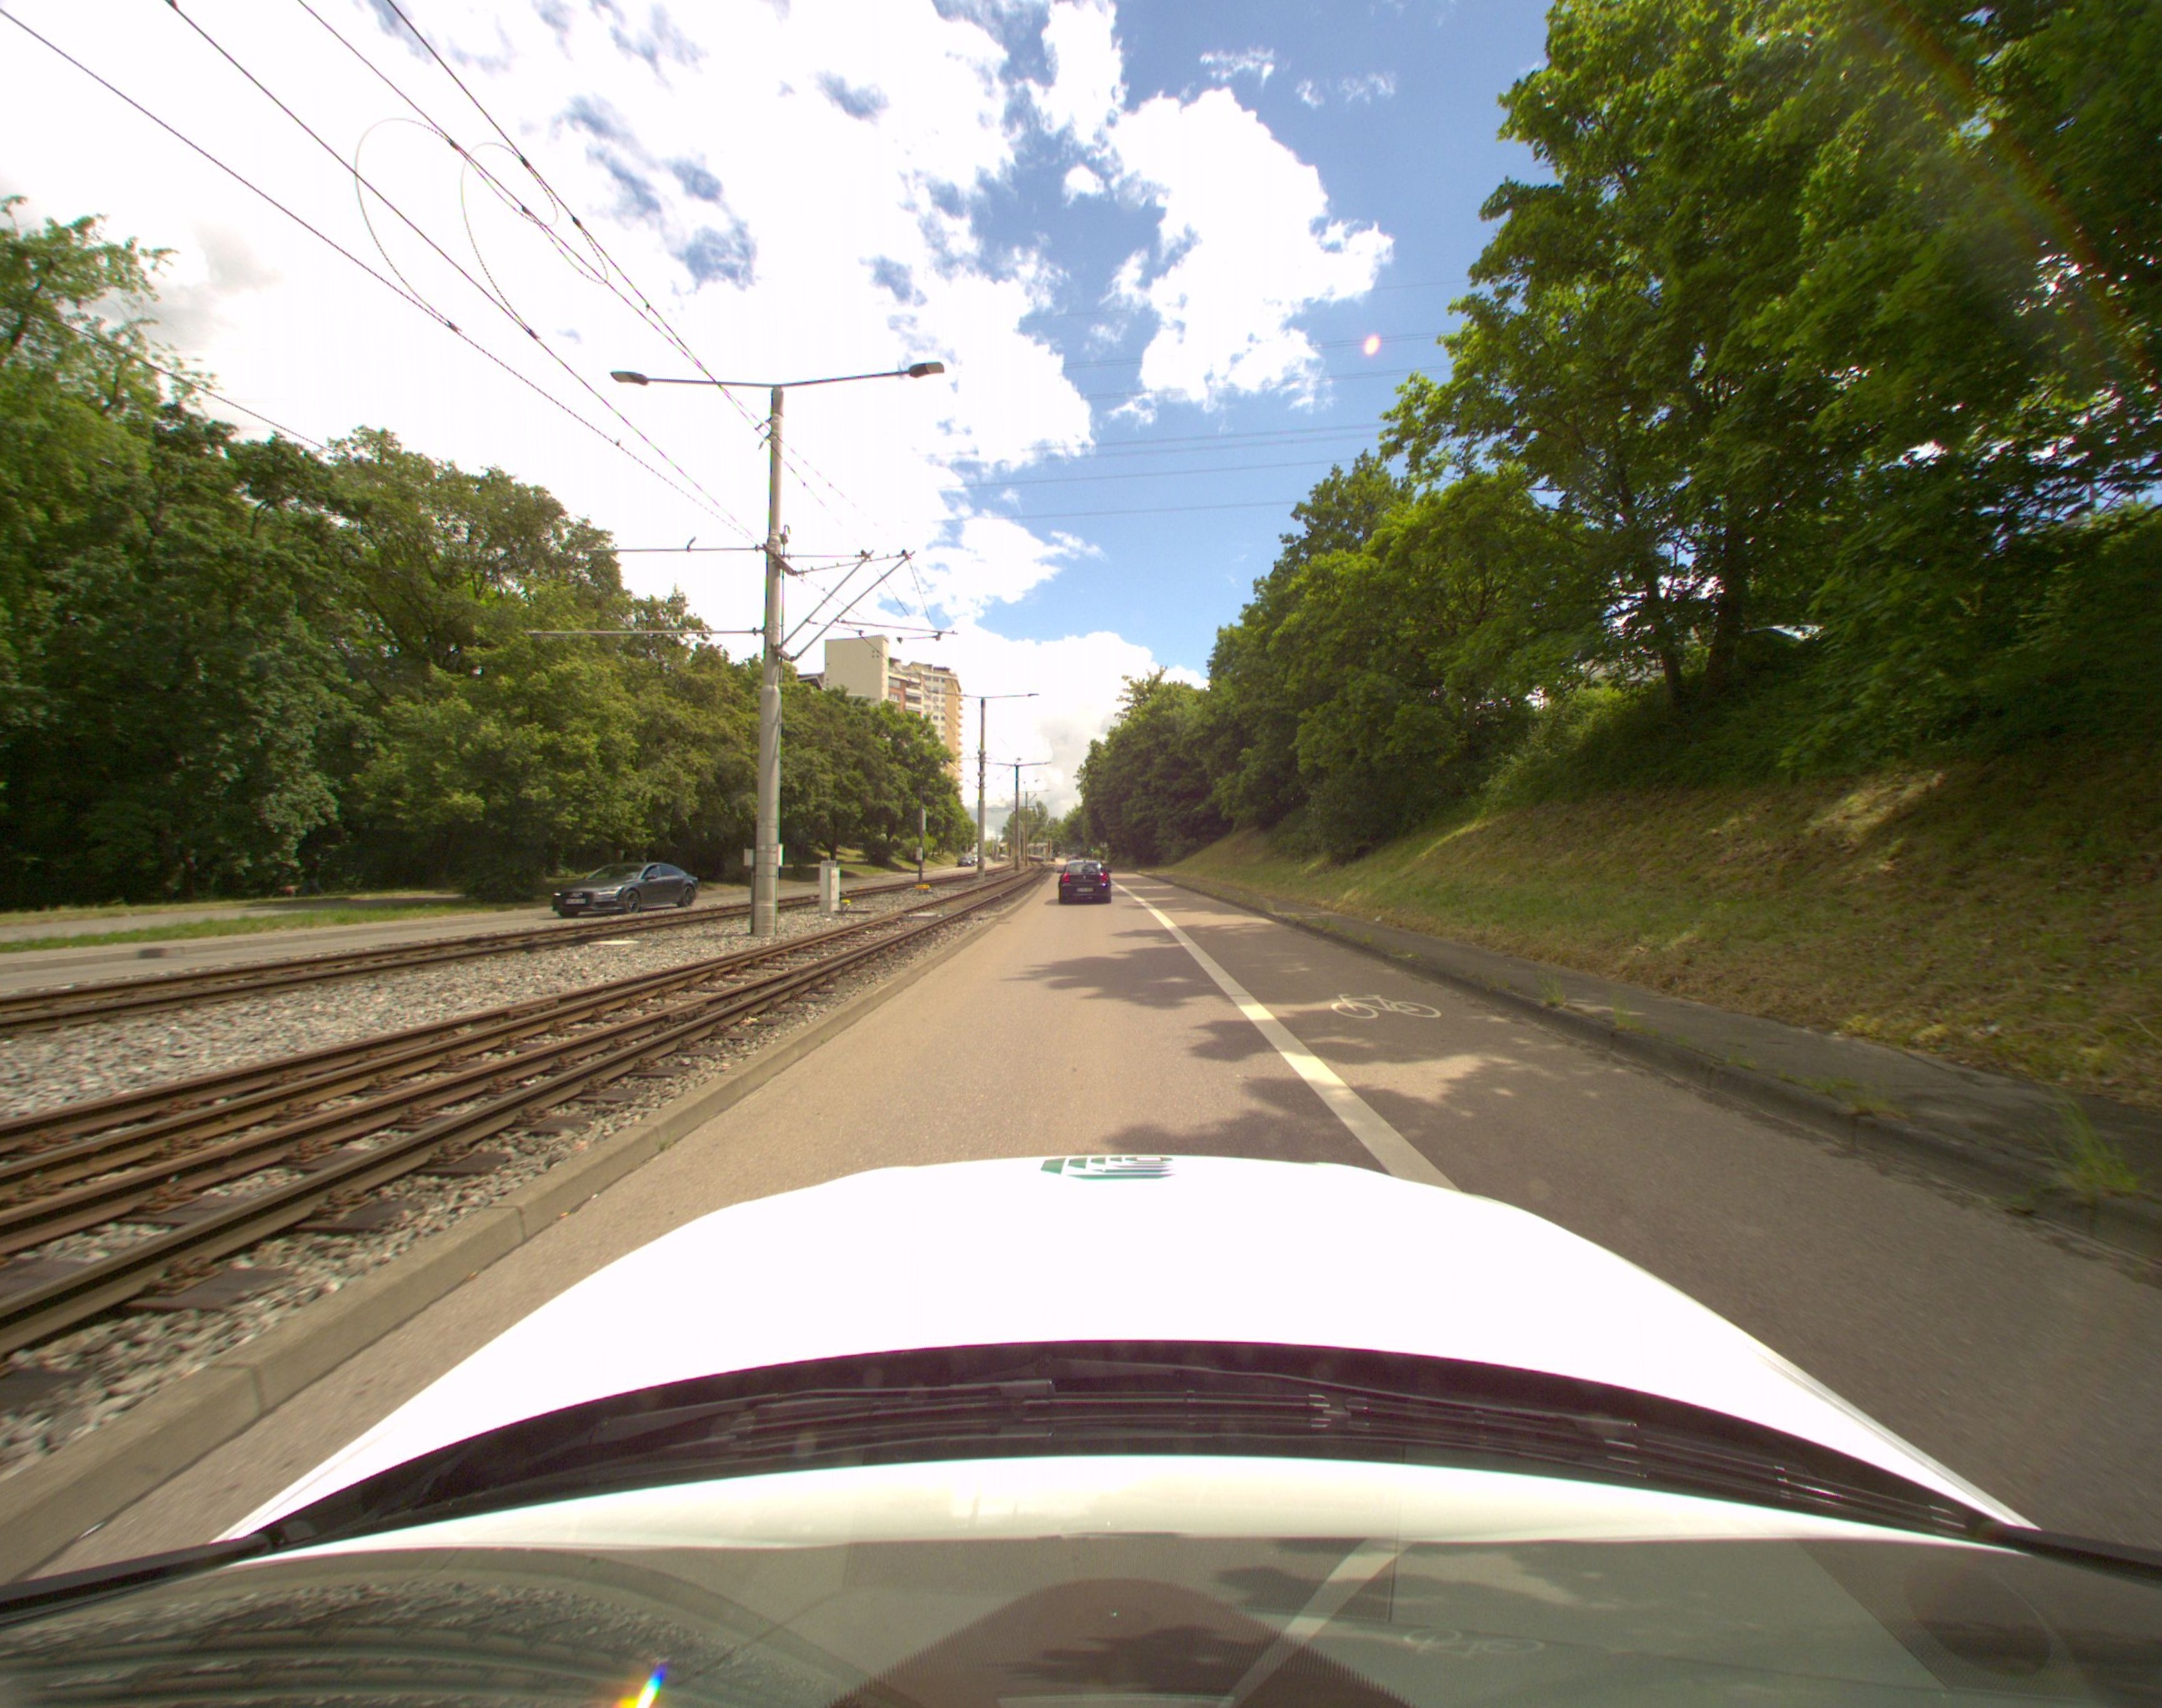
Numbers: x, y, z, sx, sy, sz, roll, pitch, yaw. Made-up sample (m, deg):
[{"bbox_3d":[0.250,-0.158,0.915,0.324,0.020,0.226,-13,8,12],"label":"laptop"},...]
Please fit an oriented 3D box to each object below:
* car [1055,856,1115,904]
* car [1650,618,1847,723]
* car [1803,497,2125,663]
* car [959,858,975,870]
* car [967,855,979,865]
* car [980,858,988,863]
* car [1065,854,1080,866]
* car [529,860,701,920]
[{"bbox_3d":[0.059,0.838,27.562,1.777,1.459,3.916,-1,0,-3],"label":"car"},{"bbox_3d":[16.379,-4.430,20.282,1.638,1.687,4.044,0,0,1],"label":"car"},{"bbox_3d":[15.920,-4.857,15.051,1.638,1.687,4.044,0,0,1],"label":"car"},{"bbox_3d":[-15.044,1.293,107.434,1.771,1.498,3.991,0,0,-4],"label":"car"},{"bbox_3d":[-17.409,0.988,131.107,1.779,1.532,4.234,-1,0,-7],"label":"car"},{"bbox_3d":[-26.949,1.743,226.358,1.717,1.442,3.926,0,0,-12],"label":"car"},{"bbox_3d":[-1.065,0.761,100.044,1.776,1.459,3.919,0,0,-1],"label":"car"},{"bbox_3d":[-12.827,0.916,22.850,1.828,1.391,4.864,-2,0,2],"label":"car"}]
